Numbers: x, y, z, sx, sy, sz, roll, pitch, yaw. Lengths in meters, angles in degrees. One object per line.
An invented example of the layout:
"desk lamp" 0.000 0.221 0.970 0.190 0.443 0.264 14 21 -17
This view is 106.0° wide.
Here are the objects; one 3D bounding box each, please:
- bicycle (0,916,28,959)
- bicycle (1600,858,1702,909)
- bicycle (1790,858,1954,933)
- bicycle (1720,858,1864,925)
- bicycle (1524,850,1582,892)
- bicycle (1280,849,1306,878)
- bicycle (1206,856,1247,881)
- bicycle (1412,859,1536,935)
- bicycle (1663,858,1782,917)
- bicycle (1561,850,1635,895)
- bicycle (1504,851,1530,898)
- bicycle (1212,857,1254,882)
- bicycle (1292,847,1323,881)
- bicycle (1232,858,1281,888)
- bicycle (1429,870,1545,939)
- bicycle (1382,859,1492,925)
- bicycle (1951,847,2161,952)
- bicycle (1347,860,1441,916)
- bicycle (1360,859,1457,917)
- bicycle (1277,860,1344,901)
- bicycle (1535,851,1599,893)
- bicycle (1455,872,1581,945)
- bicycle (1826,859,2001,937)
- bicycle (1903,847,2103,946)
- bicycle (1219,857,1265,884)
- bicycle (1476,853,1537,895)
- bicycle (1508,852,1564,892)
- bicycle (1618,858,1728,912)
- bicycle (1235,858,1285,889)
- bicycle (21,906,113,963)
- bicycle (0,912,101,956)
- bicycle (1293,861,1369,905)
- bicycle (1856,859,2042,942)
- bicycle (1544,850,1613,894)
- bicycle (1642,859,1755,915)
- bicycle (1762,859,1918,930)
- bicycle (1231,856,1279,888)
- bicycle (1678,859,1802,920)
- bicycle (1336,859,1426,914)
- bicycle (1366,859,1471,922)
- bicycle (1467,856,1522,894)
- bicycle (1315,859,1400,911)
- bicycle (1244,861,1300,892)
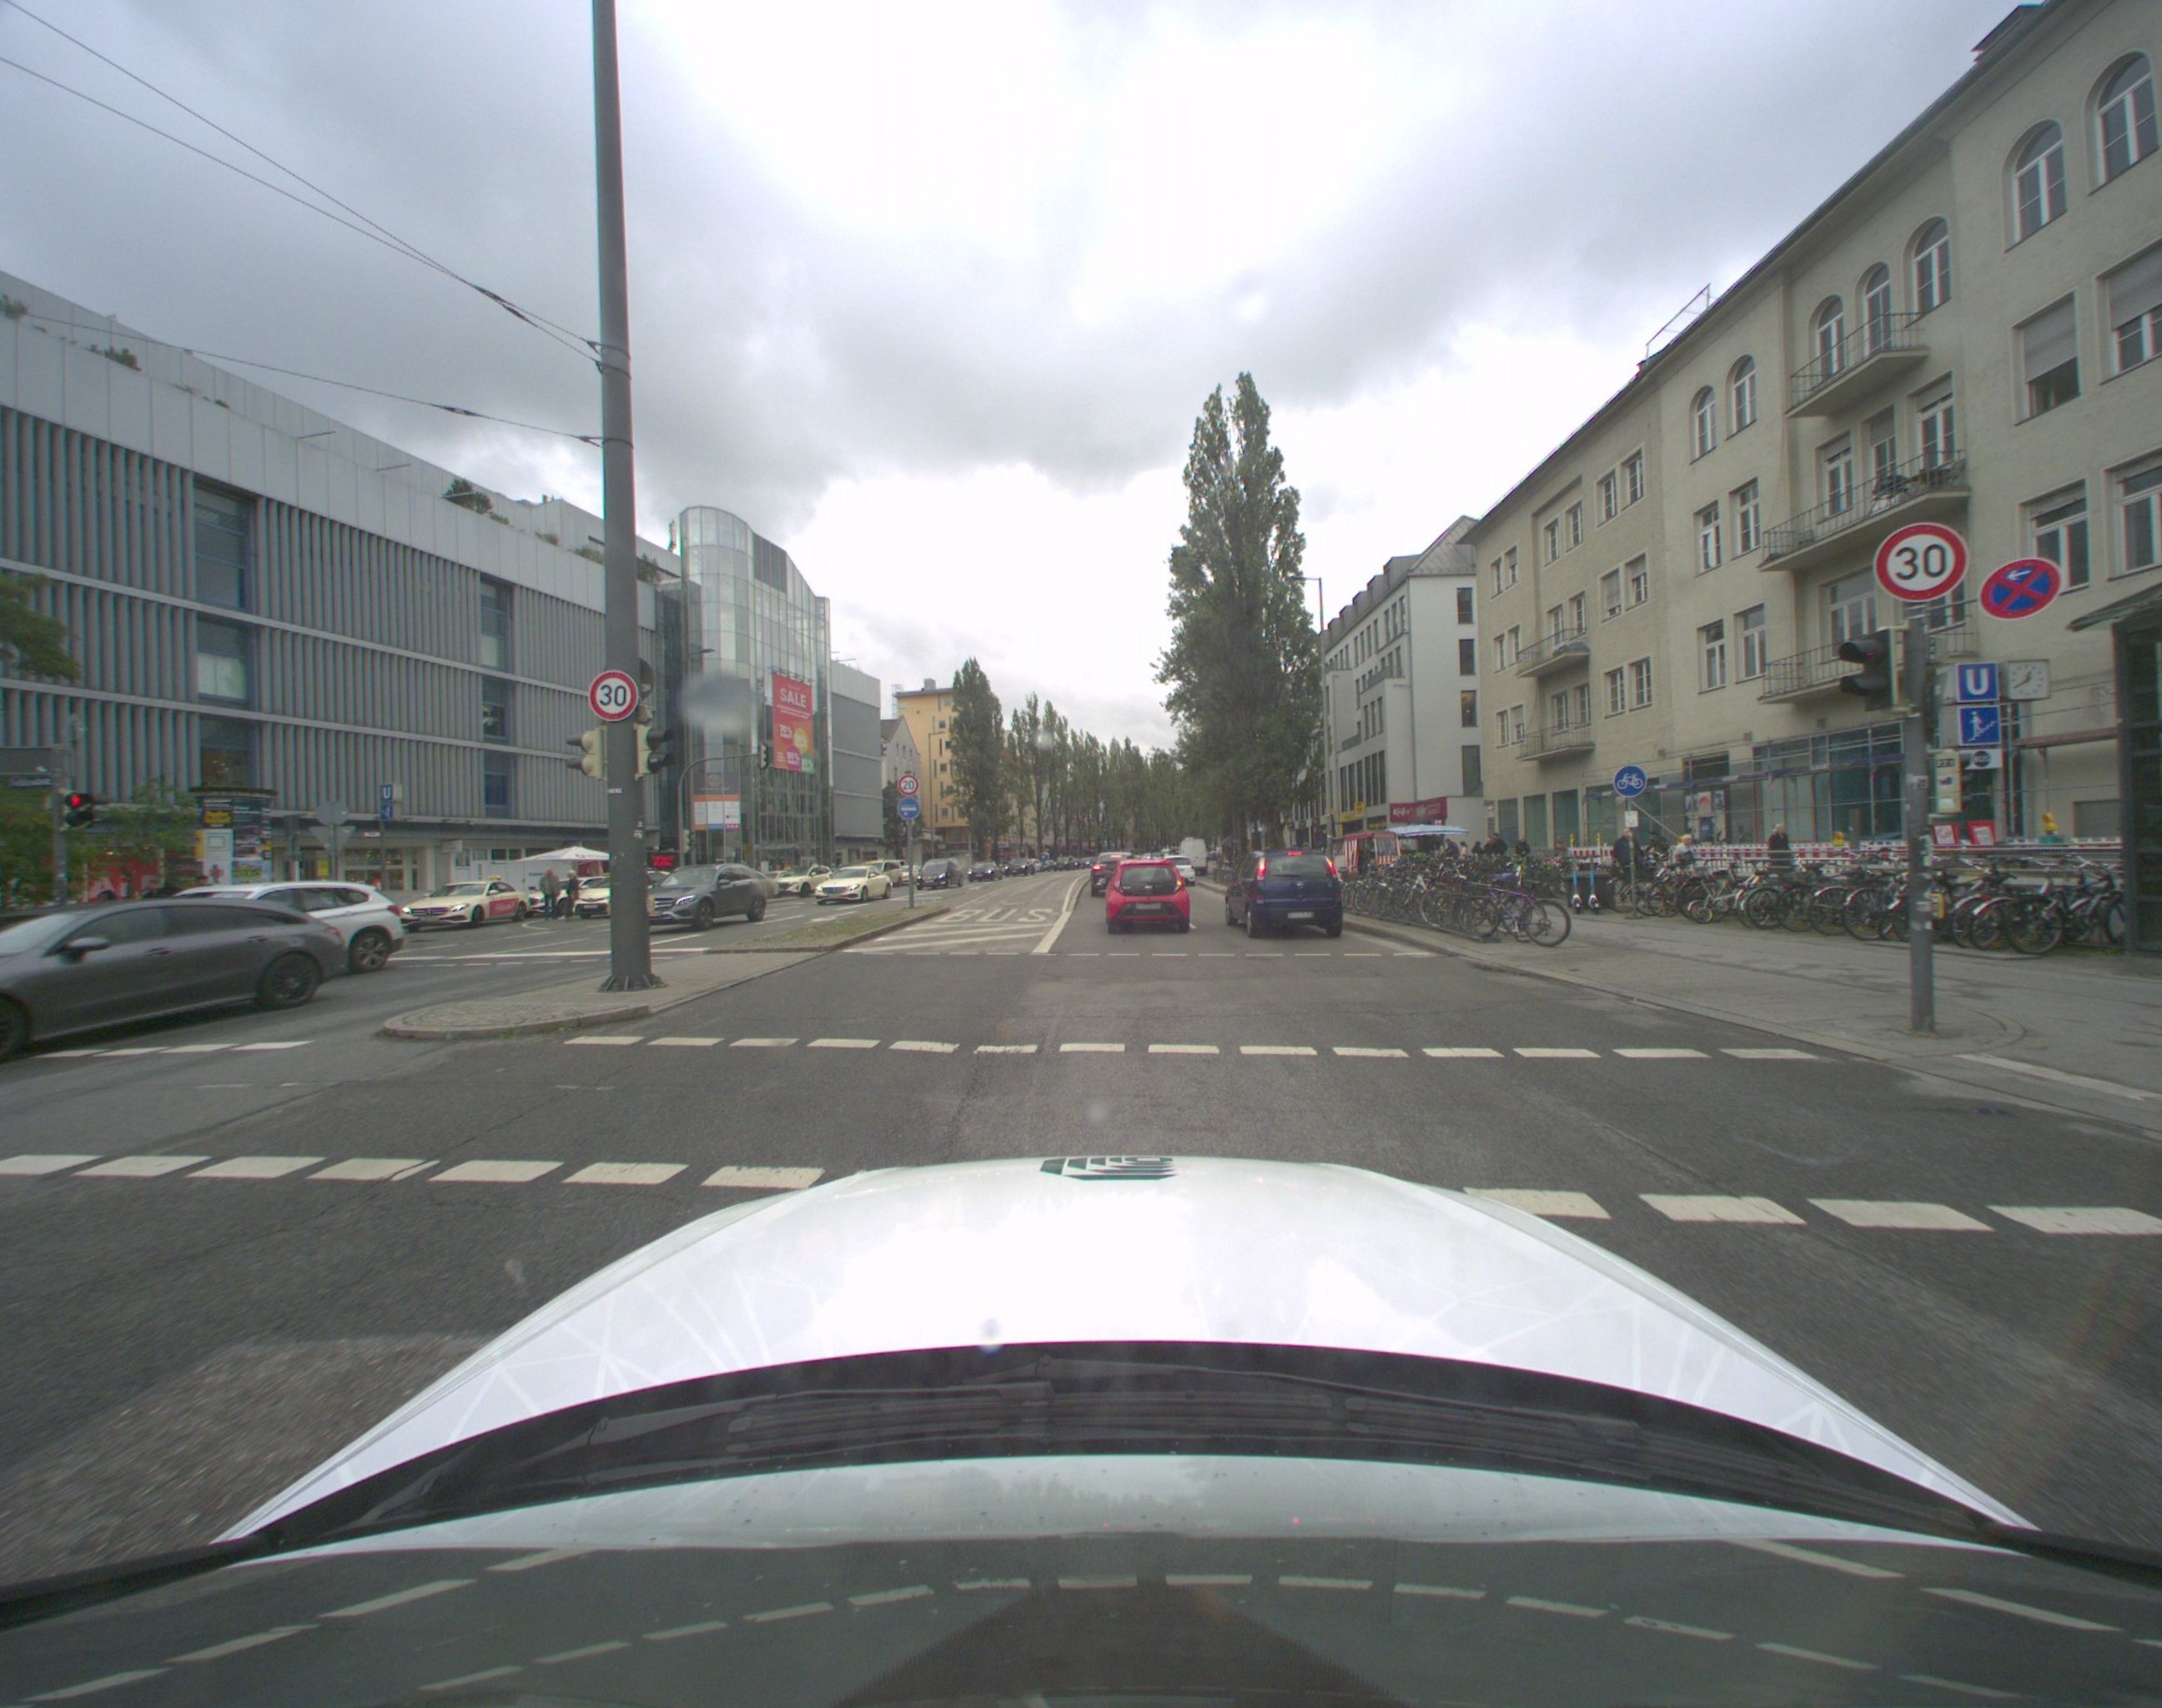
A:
"bicycle" -31.636 2.403 22.956 3.468 1.156 1.064 -2 0 14
"bicycle" 11.538 0.591 16.496 1.747 0.964 0.369 -2 0 2
"bicycle" 11.281 0.584 11.644 1.832 0.964 0.509 -2 0 0
"bicycle" 11.329 0.586 13.002 1.832 0.964 0.509 -2 0 0
"bicycle" 13.095 0.468 22.602 1.424 1.075 0.368 -2 0 -5
"bicycle" 9.698 0.412 37.349 0.611 1.265 2.521 -2 0 3
"bicycle" 6.991 0.717 39.215 1.814 1.136 0.590 -2 0 38
"bicycle" 6.684 0.714 13.924 0.562 1.198 1.782 -2 0 -45
"bicycle" 11.475 0.591 14.582 1.748 0.964 0.453 -2 0 0
"bicycle" 13.272 0.466 20.918 1.543 1.075 0.452 -2 0 3
"bicycle" 11.271 0.511 21.027 0.364 1.141 1.734 -2 0 34
"bicycle" 7.025 0.716 37.745 1.814 1.136 0.590 -2 0 38
"bicycle" 9.008 0.368 32.465 0.611 1.265 2.521 -2 0 3
"bicycle" 6.887 0.764 32.088 1.815 1.136 0.590 -2 0 44
"bicycle" 6.582 0.797 13.266 0.502 1.028 1.582 -2 0 -40
"bicycle" 6.676 0.703 15.319 1.781 1.158 0.551 -2 0 40
"bicycle" 11.181 0.507 9.335 1.832 1.094 0.509 -2 0 0
"bicycle" 6.700 0.728 17.473 1.782 1.158 0.490 -2 0 31
"bicycle" 6.744 0.705 16.811 1.782 1.158 0.490 -2 0 28
"bicycle" 6.643 0.769 23.649 1.782 1.111 0.566 -2 0 43
"bicycle" 13.168 0.477 22.081 1.547 1.075 0.368 -2 0 -5
"bicycle" 6.628 0.798 12.408 0.502 1.028 1.582 -2 0 -40
"bicycle" 11.243 0.583 11.024 1.832 0.964 0.509 -2 0 0
"bicycle" 11.179 0.503 9.902 1.832 1.094 0.509 -2 0 0
"bicycle" 6.923 0.713 35.016 1.814 1.136 0.590 -2 0 38
"bicycle" 11.522 0.538 22.077 1.412 1.077 0.369 -2 0 2
"bicycle" 13.062 0.513 23.392 1.424 1.075 0.368 -2 0 -5
"bicycle" 11.476 0.596 15.804 1.747 0.964 0.453 -2 0 2
"bicycle" 6.877 0.756 31.326 1.815 1.136 0.590 -2 0 44
"bicycle" -21.070 1.673 16.935 1.566 1.112 0.374 -2 0 5
"bicycle" -31.279 2.405 24.383 3.468 1.156 1.064 -2 0 14
"bicycle" 6.605 0.765 21.572 1.781 1.111 0.656 -2 0 39
"bicycle" 11.156 0.583 10.493 1.832 0.964 0.509 -2 0 0
"bicycle" 13.164 0.466 21.551 1.546 1.075 0.451 -2 0 -3
"bicycle" 11.549 0.610 15.242 1.748 0.964 0.453 -2 0 0
"bicycle" 11.328 0.592 12.175 1.832 0.964 0.509 -2 0 0
"bicycle" 7.000 0.712 32.753 1.815 1.241 0.590 -2 0 44
"bicycle" 11.382 0.601 14.079 1.748 0.964 0.453 -2 0 0
"bicycle" 6.665 0.727 18.129 1.781 1.158 0.490 -2 0 32
"bicycle" 6.610 0.704 16.004 1.781 1.158 0.551 -2 0 40
"bicycle" 11.459 0.583 22.584 1.309 0.999 0.369 -2 0 2
"bicycle" 6.607 0.740 19.509 1.781 1.158 0.656 -2 0 37
"bicycle" 6.696 0.797 28.597 1.815 1.052 0.590 -2 0 44
